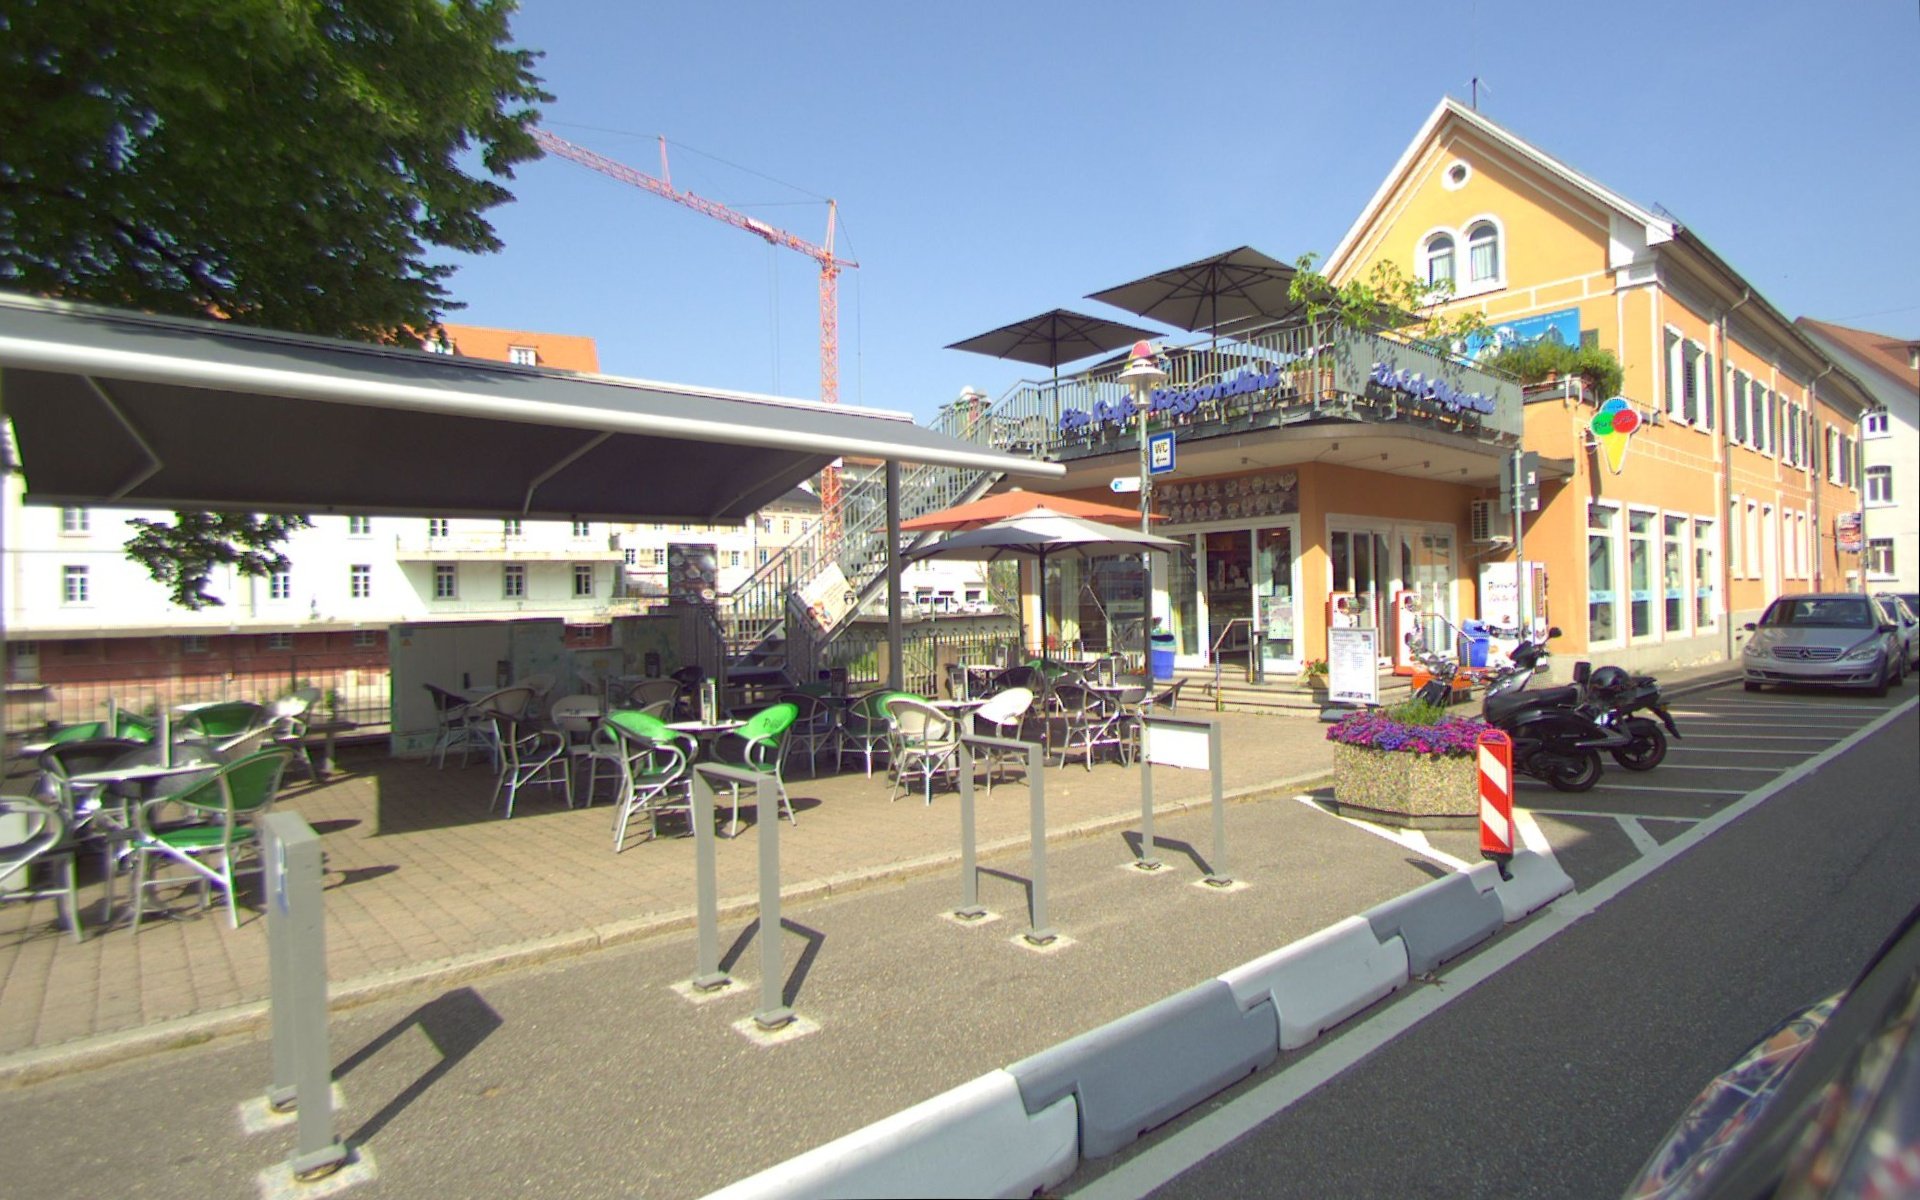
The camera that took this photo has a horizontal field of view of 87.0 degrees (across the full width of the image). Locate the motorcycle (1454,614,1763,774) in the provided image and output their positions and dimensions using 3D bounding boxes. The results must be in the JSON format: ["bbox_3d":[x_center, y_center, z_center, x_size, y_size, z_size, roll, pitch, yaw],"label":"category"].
[{"bbox_3d":[5.585,0.776,8.869,2.057,1.286,0.926,0,0,10],"label":"motorcycle"}]

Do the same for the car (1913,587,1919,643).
[{"bbox_3d":[28.559,0.408,28.791,4.112,1.559,1.682,0,1,-40],"label":"car"}]

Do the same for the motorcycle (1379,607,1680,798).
[{"bbox_3d":[4.409,0.752,8.018,1.873,1.375,0.913,0,0,15],"label":"motorcycle"}]

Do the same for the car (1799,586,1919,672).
[{"bbox_3d":[18.540,0.528,20.487,4.031,1.579,1.681,0,-1,-40],"label":"car"}]

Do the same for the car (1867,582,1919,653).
[{"bbox_3d":[24.112,0.393,25.237,4.176,1.666,1.682,0,1,-40],"label":"car"}]

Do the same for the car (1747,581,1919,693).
[{"bbox_3d":[14.684,0.541,16.876,4.516,1.617,1.747,0,-1,-43],"label":"car"}]
